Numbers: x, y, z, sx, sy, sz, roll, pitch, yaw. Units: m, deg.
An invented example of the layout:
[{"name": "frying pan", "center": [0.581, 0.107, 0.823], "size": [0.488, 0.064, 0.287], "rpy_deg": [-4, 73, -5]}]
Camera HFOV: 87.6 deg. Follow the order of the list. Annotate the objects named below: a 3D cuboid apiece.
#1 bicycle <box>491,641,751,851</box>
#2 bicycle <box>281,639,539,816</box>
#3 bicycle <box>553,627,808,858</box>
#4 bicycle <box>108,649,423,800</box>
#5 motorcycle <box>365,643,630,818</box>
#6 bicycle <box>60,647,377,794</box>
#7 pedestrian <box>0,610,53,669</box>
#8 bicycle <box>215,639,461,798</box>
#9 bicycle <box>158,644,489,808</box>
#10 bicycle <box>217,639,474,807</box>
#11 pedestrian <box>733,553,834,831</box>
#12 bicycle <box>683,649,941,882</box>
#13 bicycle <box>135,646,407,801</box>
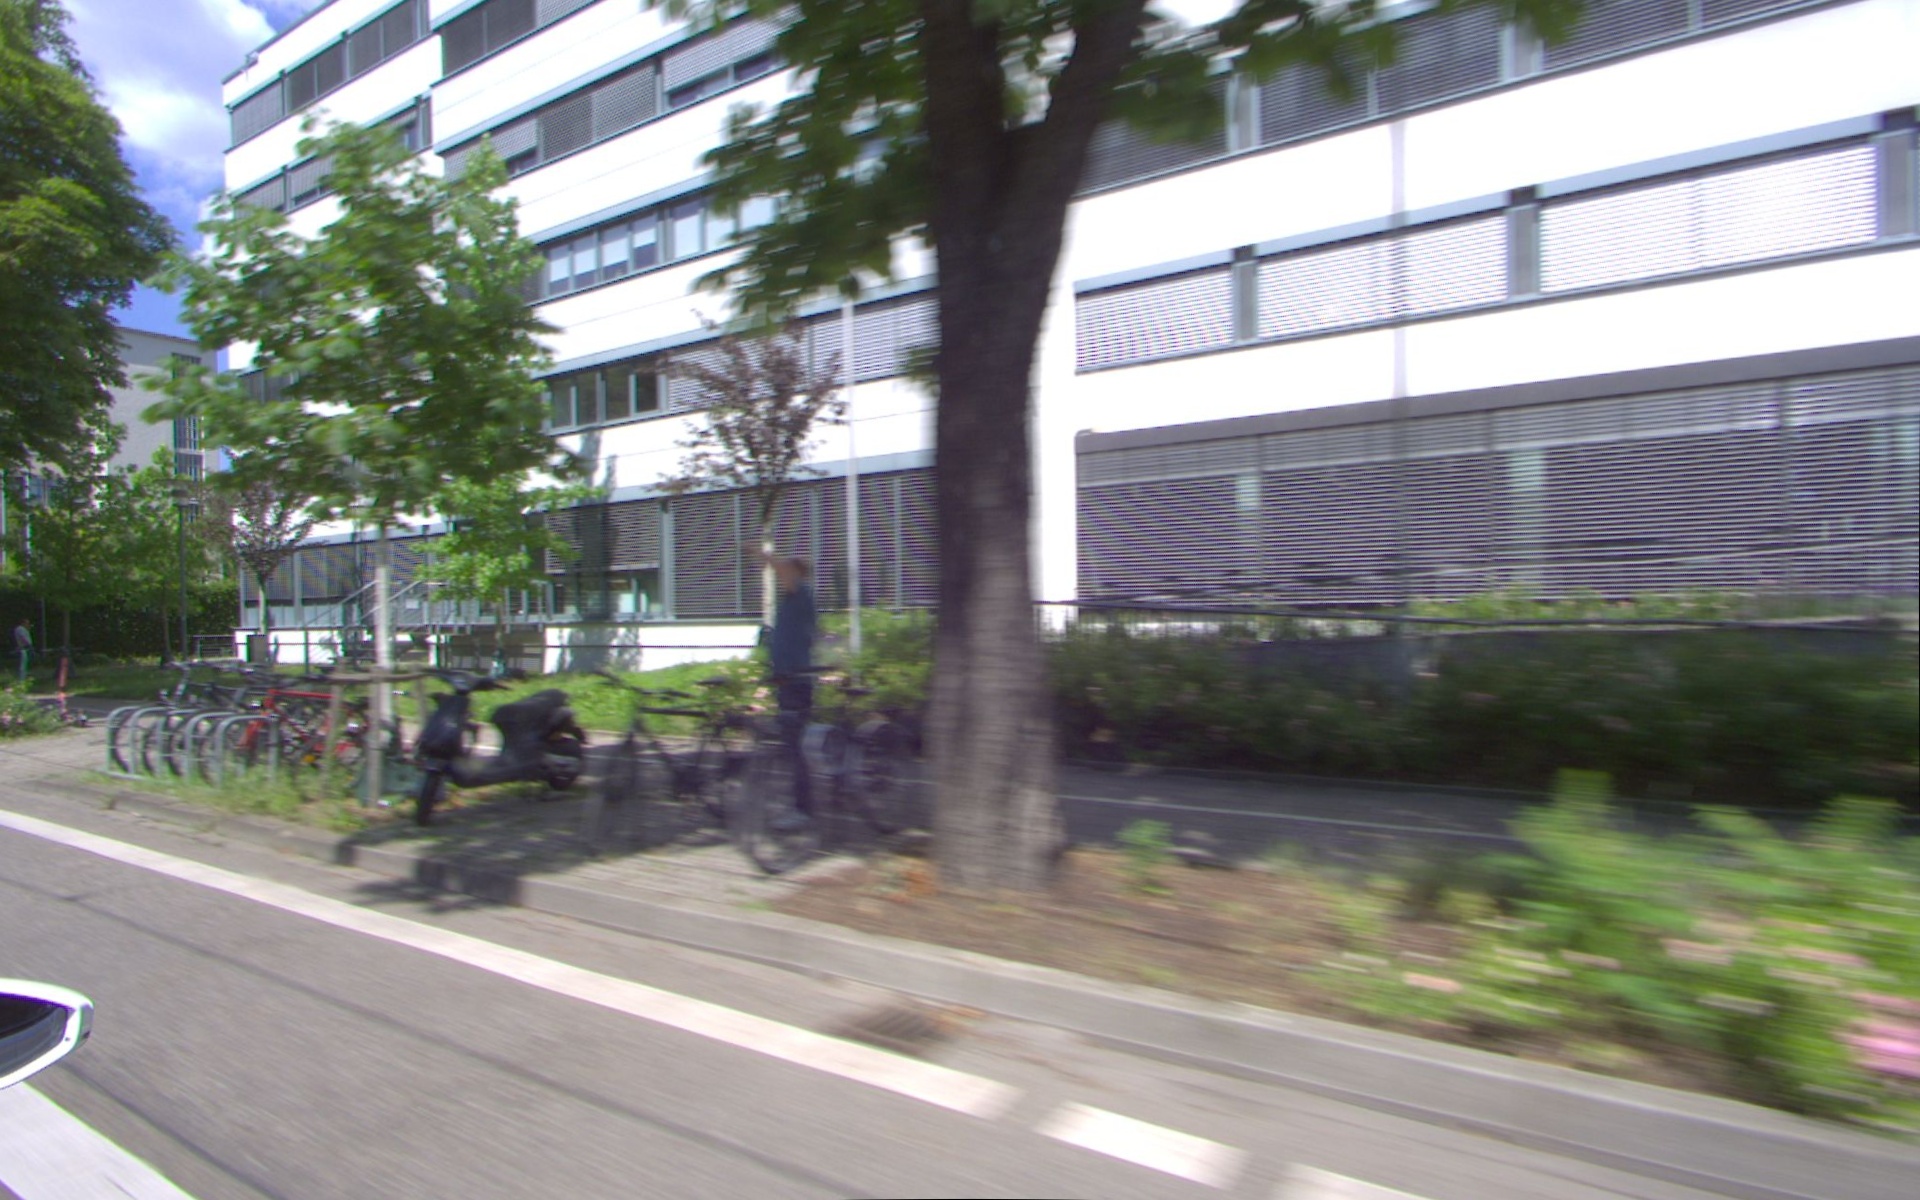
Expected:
[{"name": "bicycle", "center": [-2.195, 0.888, 6.725], "size": [0.522, 1.181, 1.750], "rpy_deg": [-1, -1, 29]}, {"name": "bicycle", "center": [-4.203, 0.916, 7.801], "size": [0.522, 1.181, 1.750], "rpy_deg": [-1, -1, 29]}, {"name": "bicycle", "center": [-1.745, 0.830, 6.536], "size": [0.522, 1.287, 1.750], "rpy_deg": [-1, -1, 29]}, {"name": "bicycle", "center": [-6.758, 1.145, 9.931], "size": [0.614, 1.225, 2.502], "rpy_deg": [-1, -1, 36]}, {"name": "motorcycle", "center": [-3.478, 0.923, 7.708], "size": [0.590, 1.125, 1.820], "rpy_deg": [-1, 0, 32]}, {"name": "bicycle", "center": [-7.479, 1.147, 10.273], "size": [0.732, 1.225, 2.502], "rpy_deg": [-1, -1, 36]}, {"name": "pedestrian", "center": [-30.550, 1.275, 32.656], "size": [0.819, 1.851, 1.214], "rpy_deg": [-1, 0, 29]}, {"name": "bicycle", "center": [-5.228, 0.941, 8.543], "size": [0.522, 1.181, 1.750], "rpy_deg": [-1, -1, 29]}, {"name": "bicycle", "center": [-5.705, 1.057, 9.190], "size": [0.639, 1.225, 2.502], "rpy_deg": [-1, -1, 36]}, {"name": "bicycle", "center": [-4.906, 0.925, 8.125], "size": [0.522, 1.181, 1.750], "rpy_deg": [-1, -1, 29]}, {"name": "pedestrian", "center": [-1.200, 0.582, 6.715], "size": [0.573, 1.737, 0.796], "rpy_deg": [-1, 0, -15]}, {"name": "bicycle", "center": [-0.806, 0.887, 5.999], "size": [0.524, 1.117, 1.786], "rpy_deg": [-1, 0, 30]}, {"name": "bicycle", "center": [-6.374, 1.083, 9.383], "size": [0.653, 1.225, 1.990], "rpy_deg": [-1, 0, 36]}]
